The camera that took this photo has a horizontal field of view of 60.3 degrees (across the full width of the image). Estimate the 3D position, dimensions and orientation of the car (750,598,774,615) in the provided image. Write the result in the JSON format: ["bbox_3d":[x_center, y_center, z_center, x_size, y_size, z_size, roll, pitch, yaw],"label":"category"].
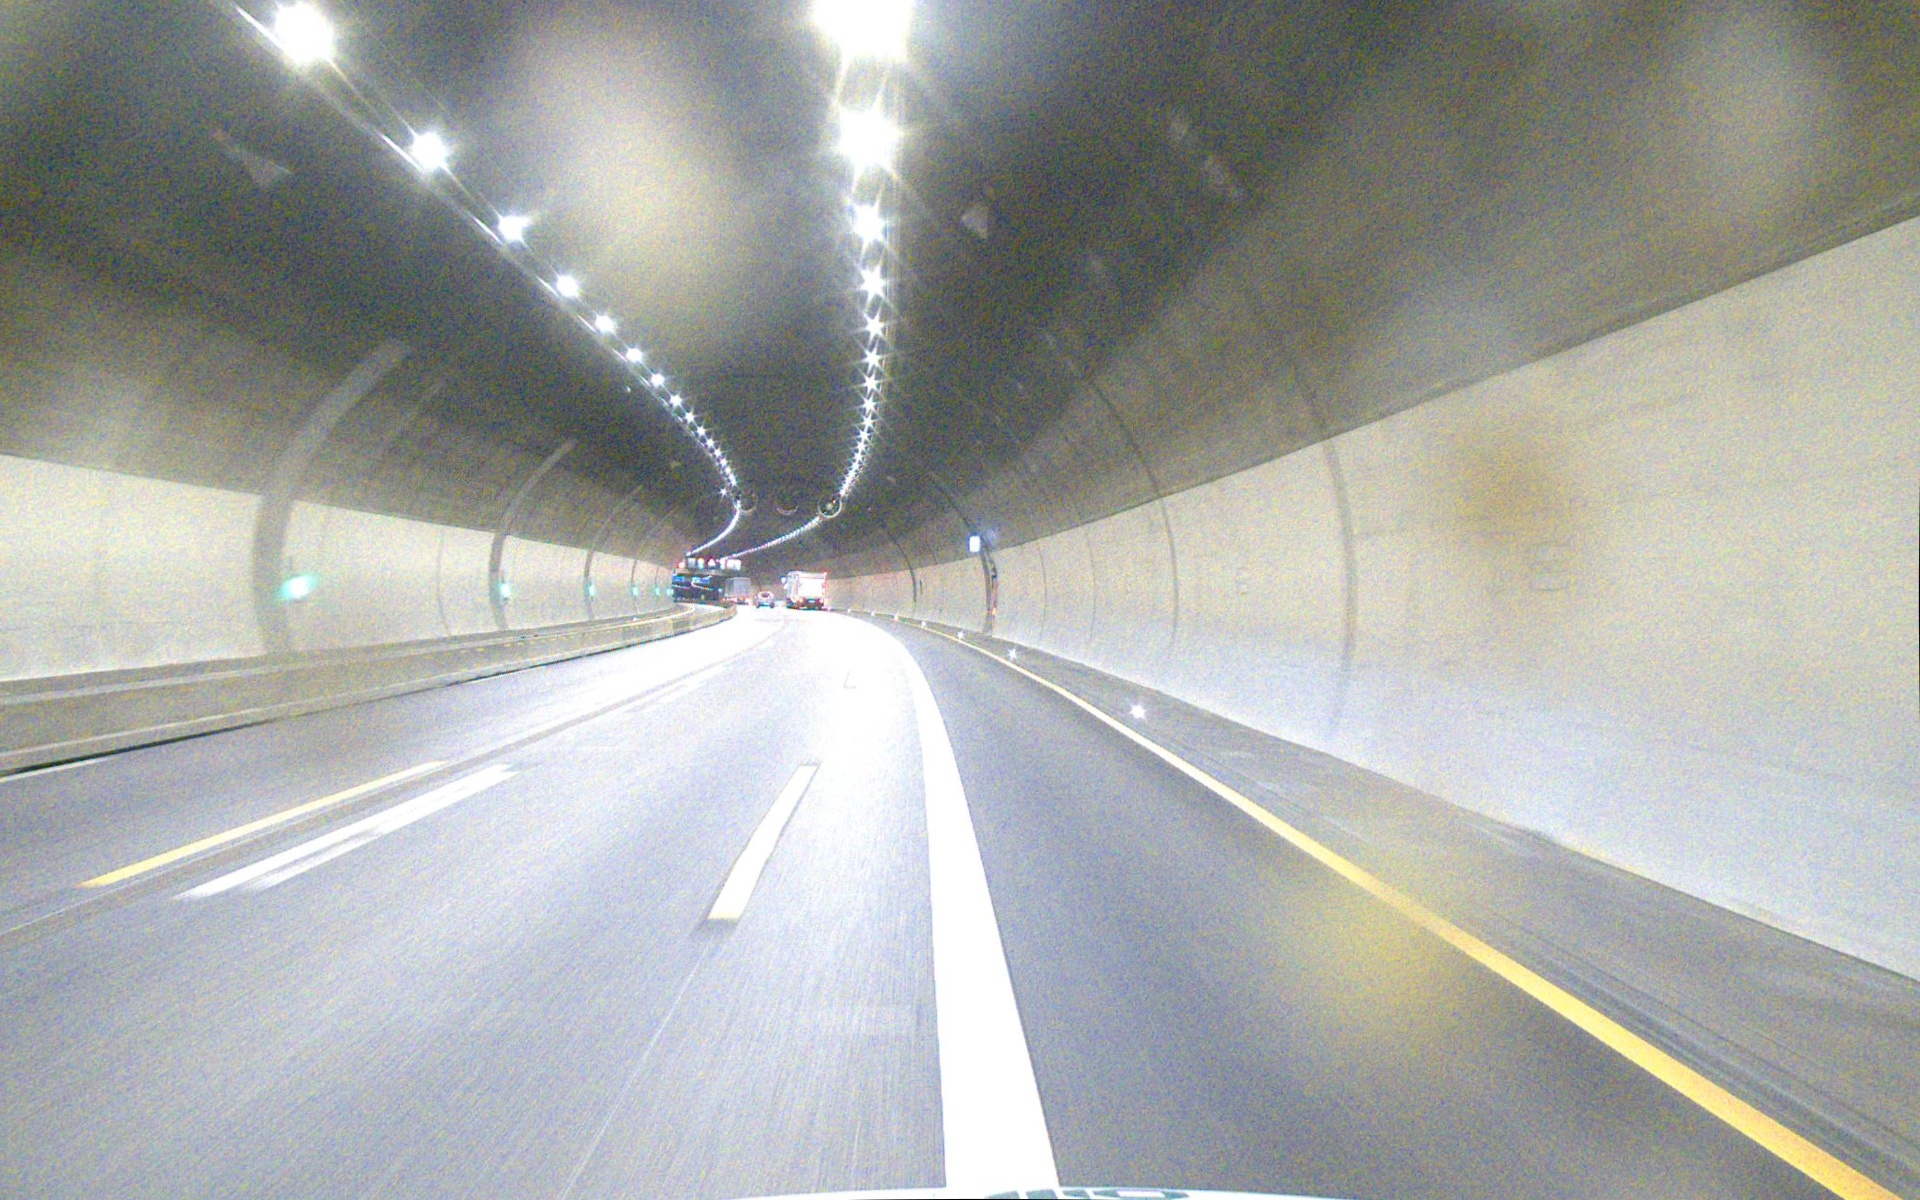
[{"bbox_3d":[-19.886,0.613,166.201,1.959,1.609,3.986,2,0,-13],"label":"car"}]

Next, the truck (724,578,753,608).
[{"bbox_3d":[-34.096,-1.040,254.018,3.413,4.392,10.917,1,0,-12],"label":"truck"}]

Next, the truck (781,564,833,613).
[{"bbox_3d":[-14.603,-1.118,156.927,3.414,4.391,10.917,1,0,-13],"label":"truck"}]
